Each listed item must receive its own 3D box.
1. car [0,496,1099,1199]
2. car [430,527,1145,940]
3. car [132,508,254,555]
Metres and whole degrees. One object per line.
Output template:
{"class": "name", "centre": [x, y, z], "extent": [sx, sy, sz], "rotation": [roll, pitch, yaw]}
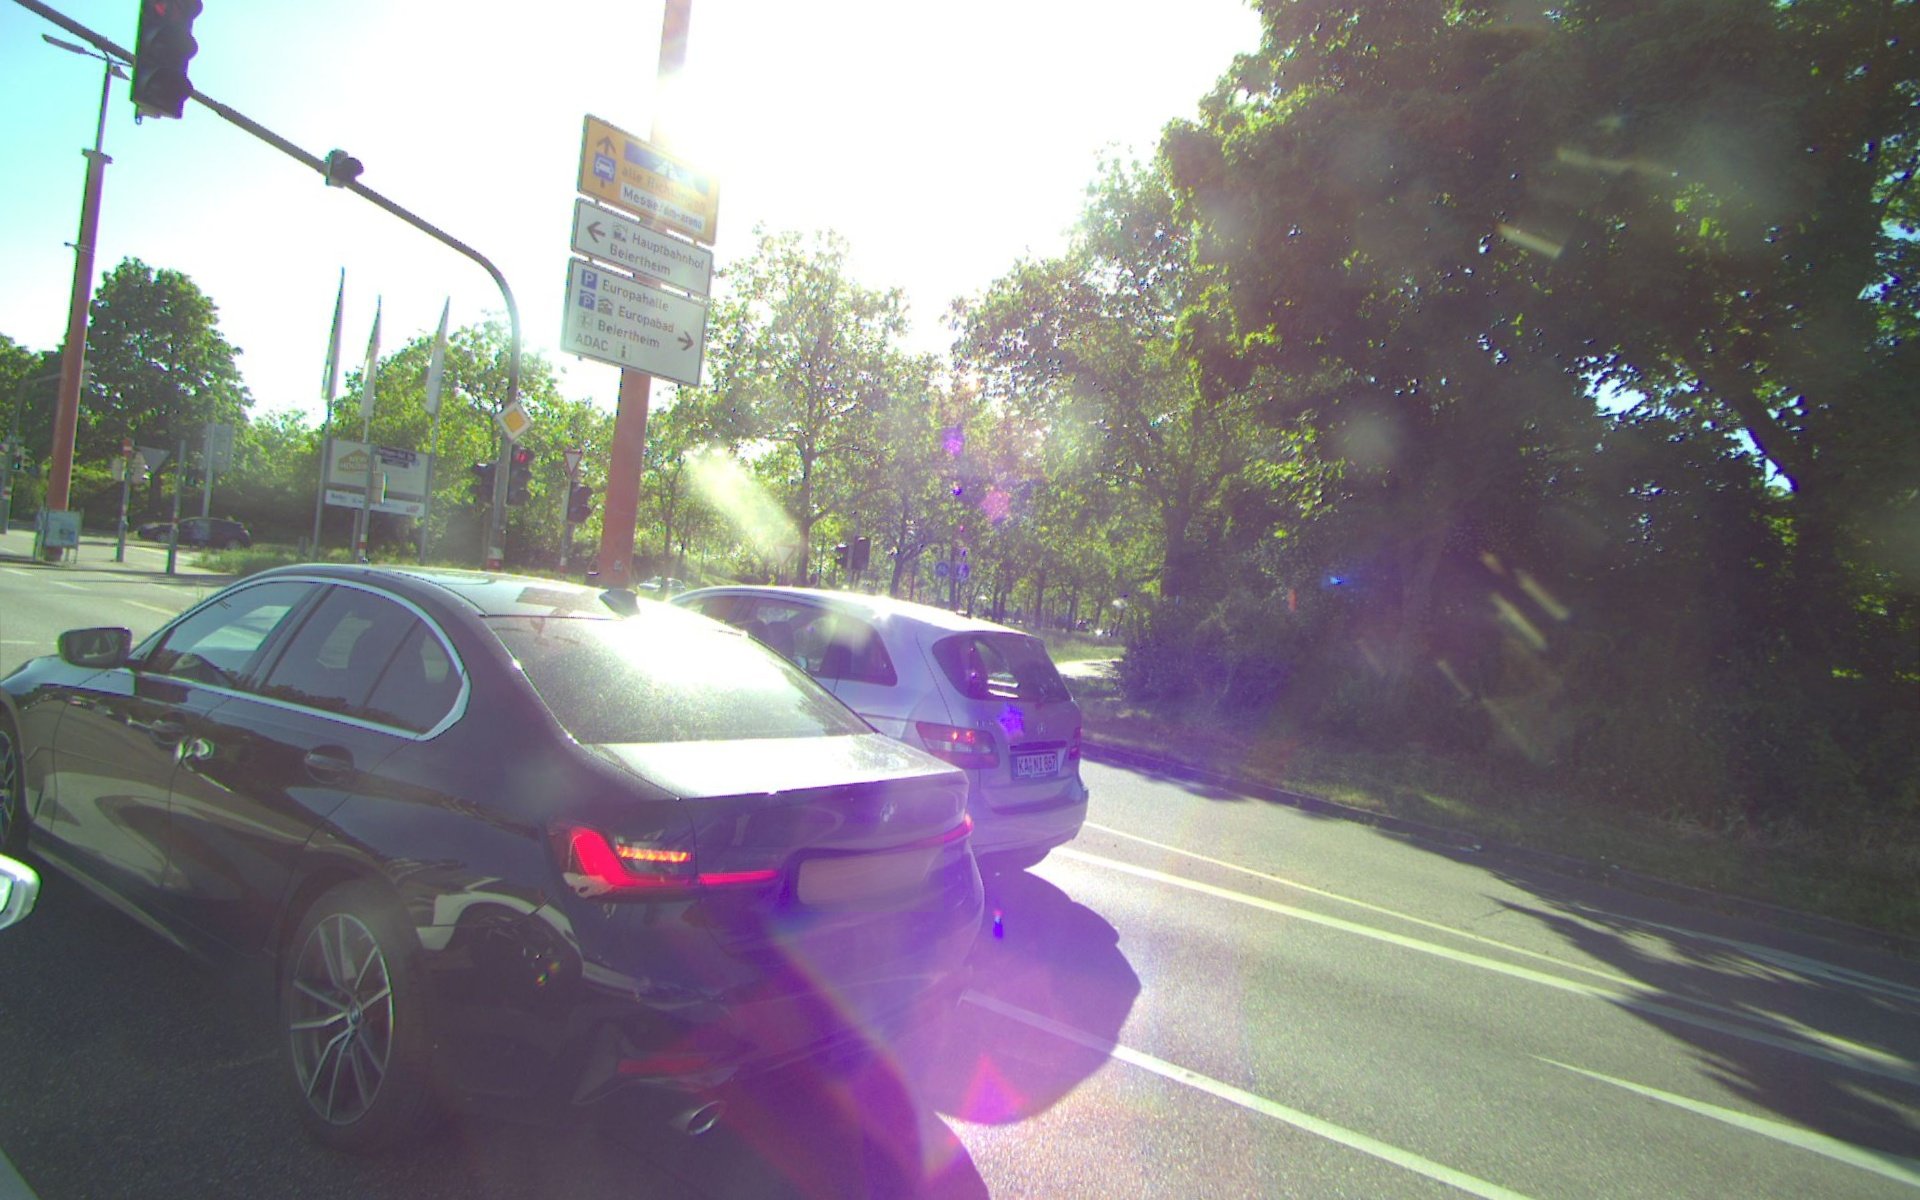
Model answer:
{"class": "car", "centre": [-1.956, 0.531, 3.873], "extent": [4.403, 1.411, 1.996], "rotation": [7, 0, 32]}
{"class": "car", "centre": [-1.278, 0.642, 6.781], "extent": [4.403, 1.706, 1.970], "rotation": [7, -1, 32]}
{"class": "car", "centre": [-36.561, -3.247, 48.039], "extent": [2.137, 1.592, 4.259], "rotation": [7, -1, 43]}
